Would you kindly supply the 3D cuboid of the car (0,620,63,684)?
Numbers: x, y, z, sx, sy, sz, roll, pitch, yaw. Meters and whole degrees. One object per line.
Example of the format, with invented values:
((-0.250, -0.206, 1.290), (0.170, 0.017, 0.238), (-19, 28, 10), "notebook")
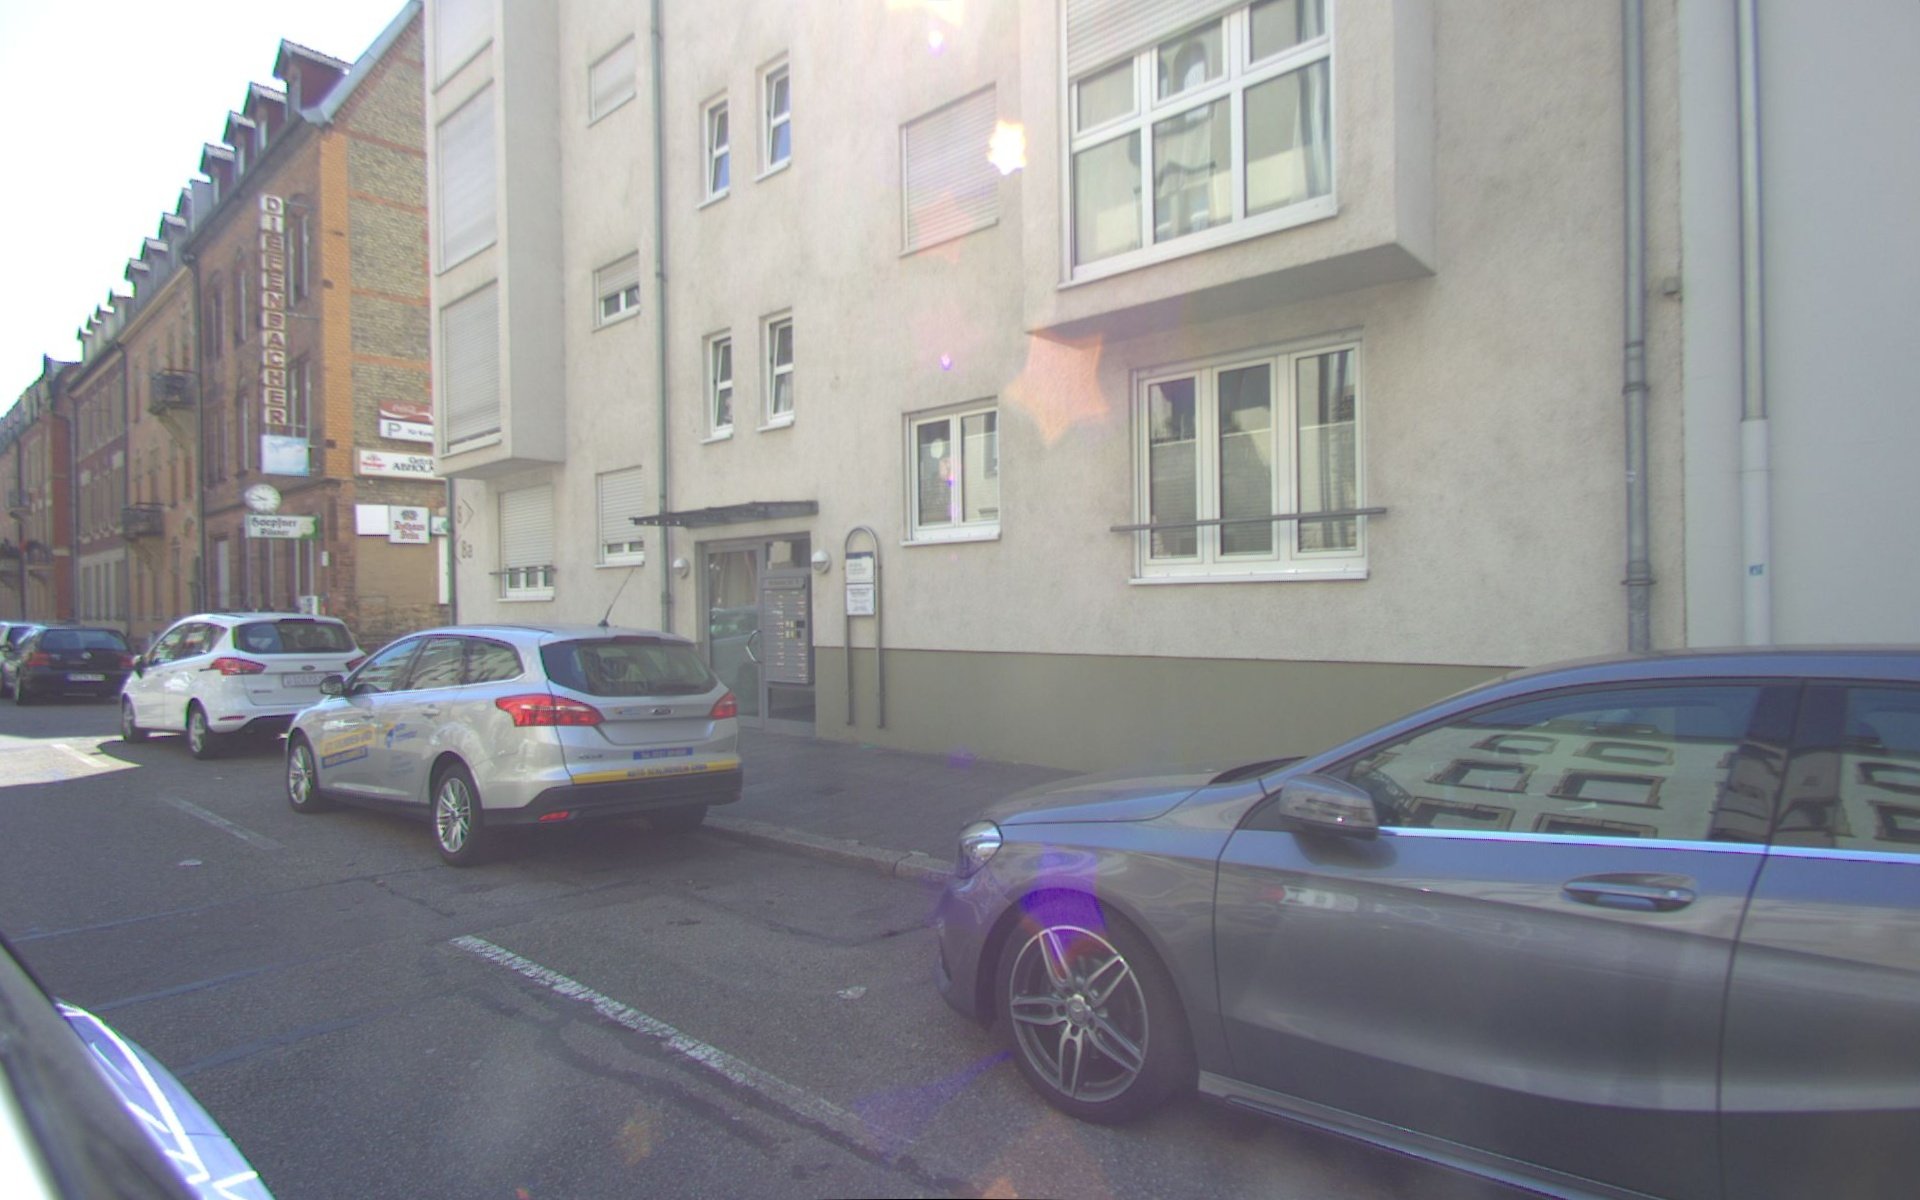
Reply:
((-24.362, 1.295, 25.879), (3.521, 1.555, 1.432), (-1, -4, 38), "car")

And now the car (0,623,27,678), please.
((-27.742, 1.388, 28.605), (3.521, 1.484, 1.432), (-1, -4, 39), "car")

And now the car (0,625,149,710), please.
((-16.996, 1.249, 19.254), (3.835, 1.440, 1.758), (-1, -5, 42), "car")

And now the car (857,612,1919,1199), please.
((1.882, 0.757, 2.724), (4.344, 1.404, 1.747), (-1, -2, 39), "car")

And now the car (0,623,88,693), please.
((-20.827, 1.255, 22.521), (3.677, 1.440, 1.611), (-1, -5, 42), "car")

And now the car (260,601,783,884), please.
((-3.415, 0.818, 7.476), (4.344, 1.506, 1.713), (-1, -3, 39), "car")

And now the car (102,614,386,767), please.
((-8.656, 0.990, 12.141), (3.847, 1.561, 1.613), (-1, -4, 37), "car")
